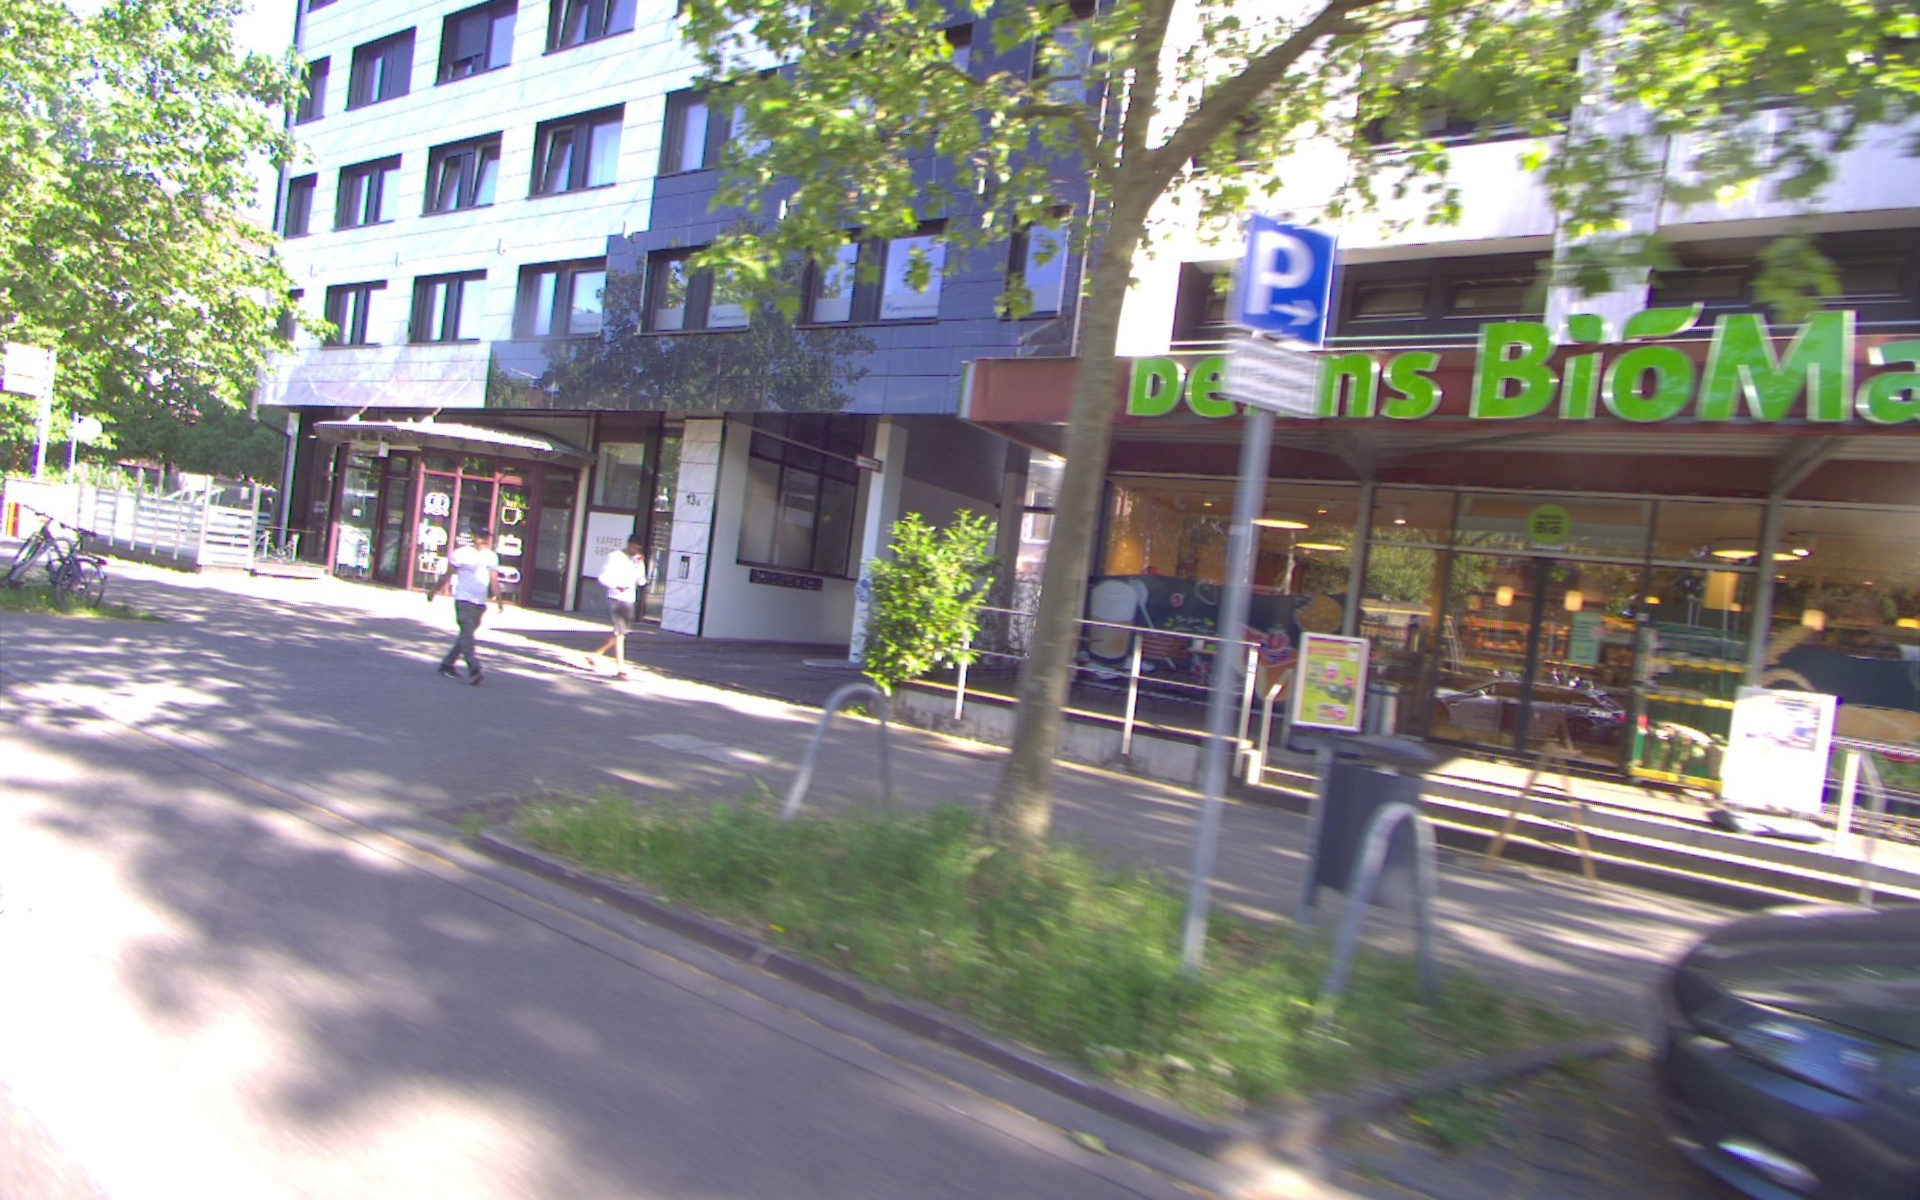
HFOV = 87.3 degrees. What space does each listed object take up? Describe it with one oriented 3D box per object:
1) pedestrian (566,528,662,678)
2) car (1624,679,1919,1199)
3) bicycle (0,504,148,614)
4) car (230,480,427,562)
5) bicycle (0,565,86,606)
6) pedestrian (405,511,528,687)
[{"bbox_3d":[-4.356,0.036,12.676,0.864,1.767,0.560,8,2,31],"label":"pedestrian"},{"bbox_3d":[4.003,1.254,2.314,3.934,1.569,1.566,7,0,32],"label":"car"},{"bbox_3d":[-11.224,-0.517,12.560,1.812,1.147,0.790,7,1,19],"label":"bicycle"},{"bbox_3d":[-19.871,-2.447,31.912,1.881,2.011,4.897,7,2,32],"label":"car"},{"bbox_3d":[-12.112,-0.233,12.453,1.366,0.357,1.610,7,0,32],"label":"bicycle"},{"bbox_3d":[-5.218,-0.014,10.633,1.034,1.726,0.560,7,2,32],"label":"pedestrian"}]
